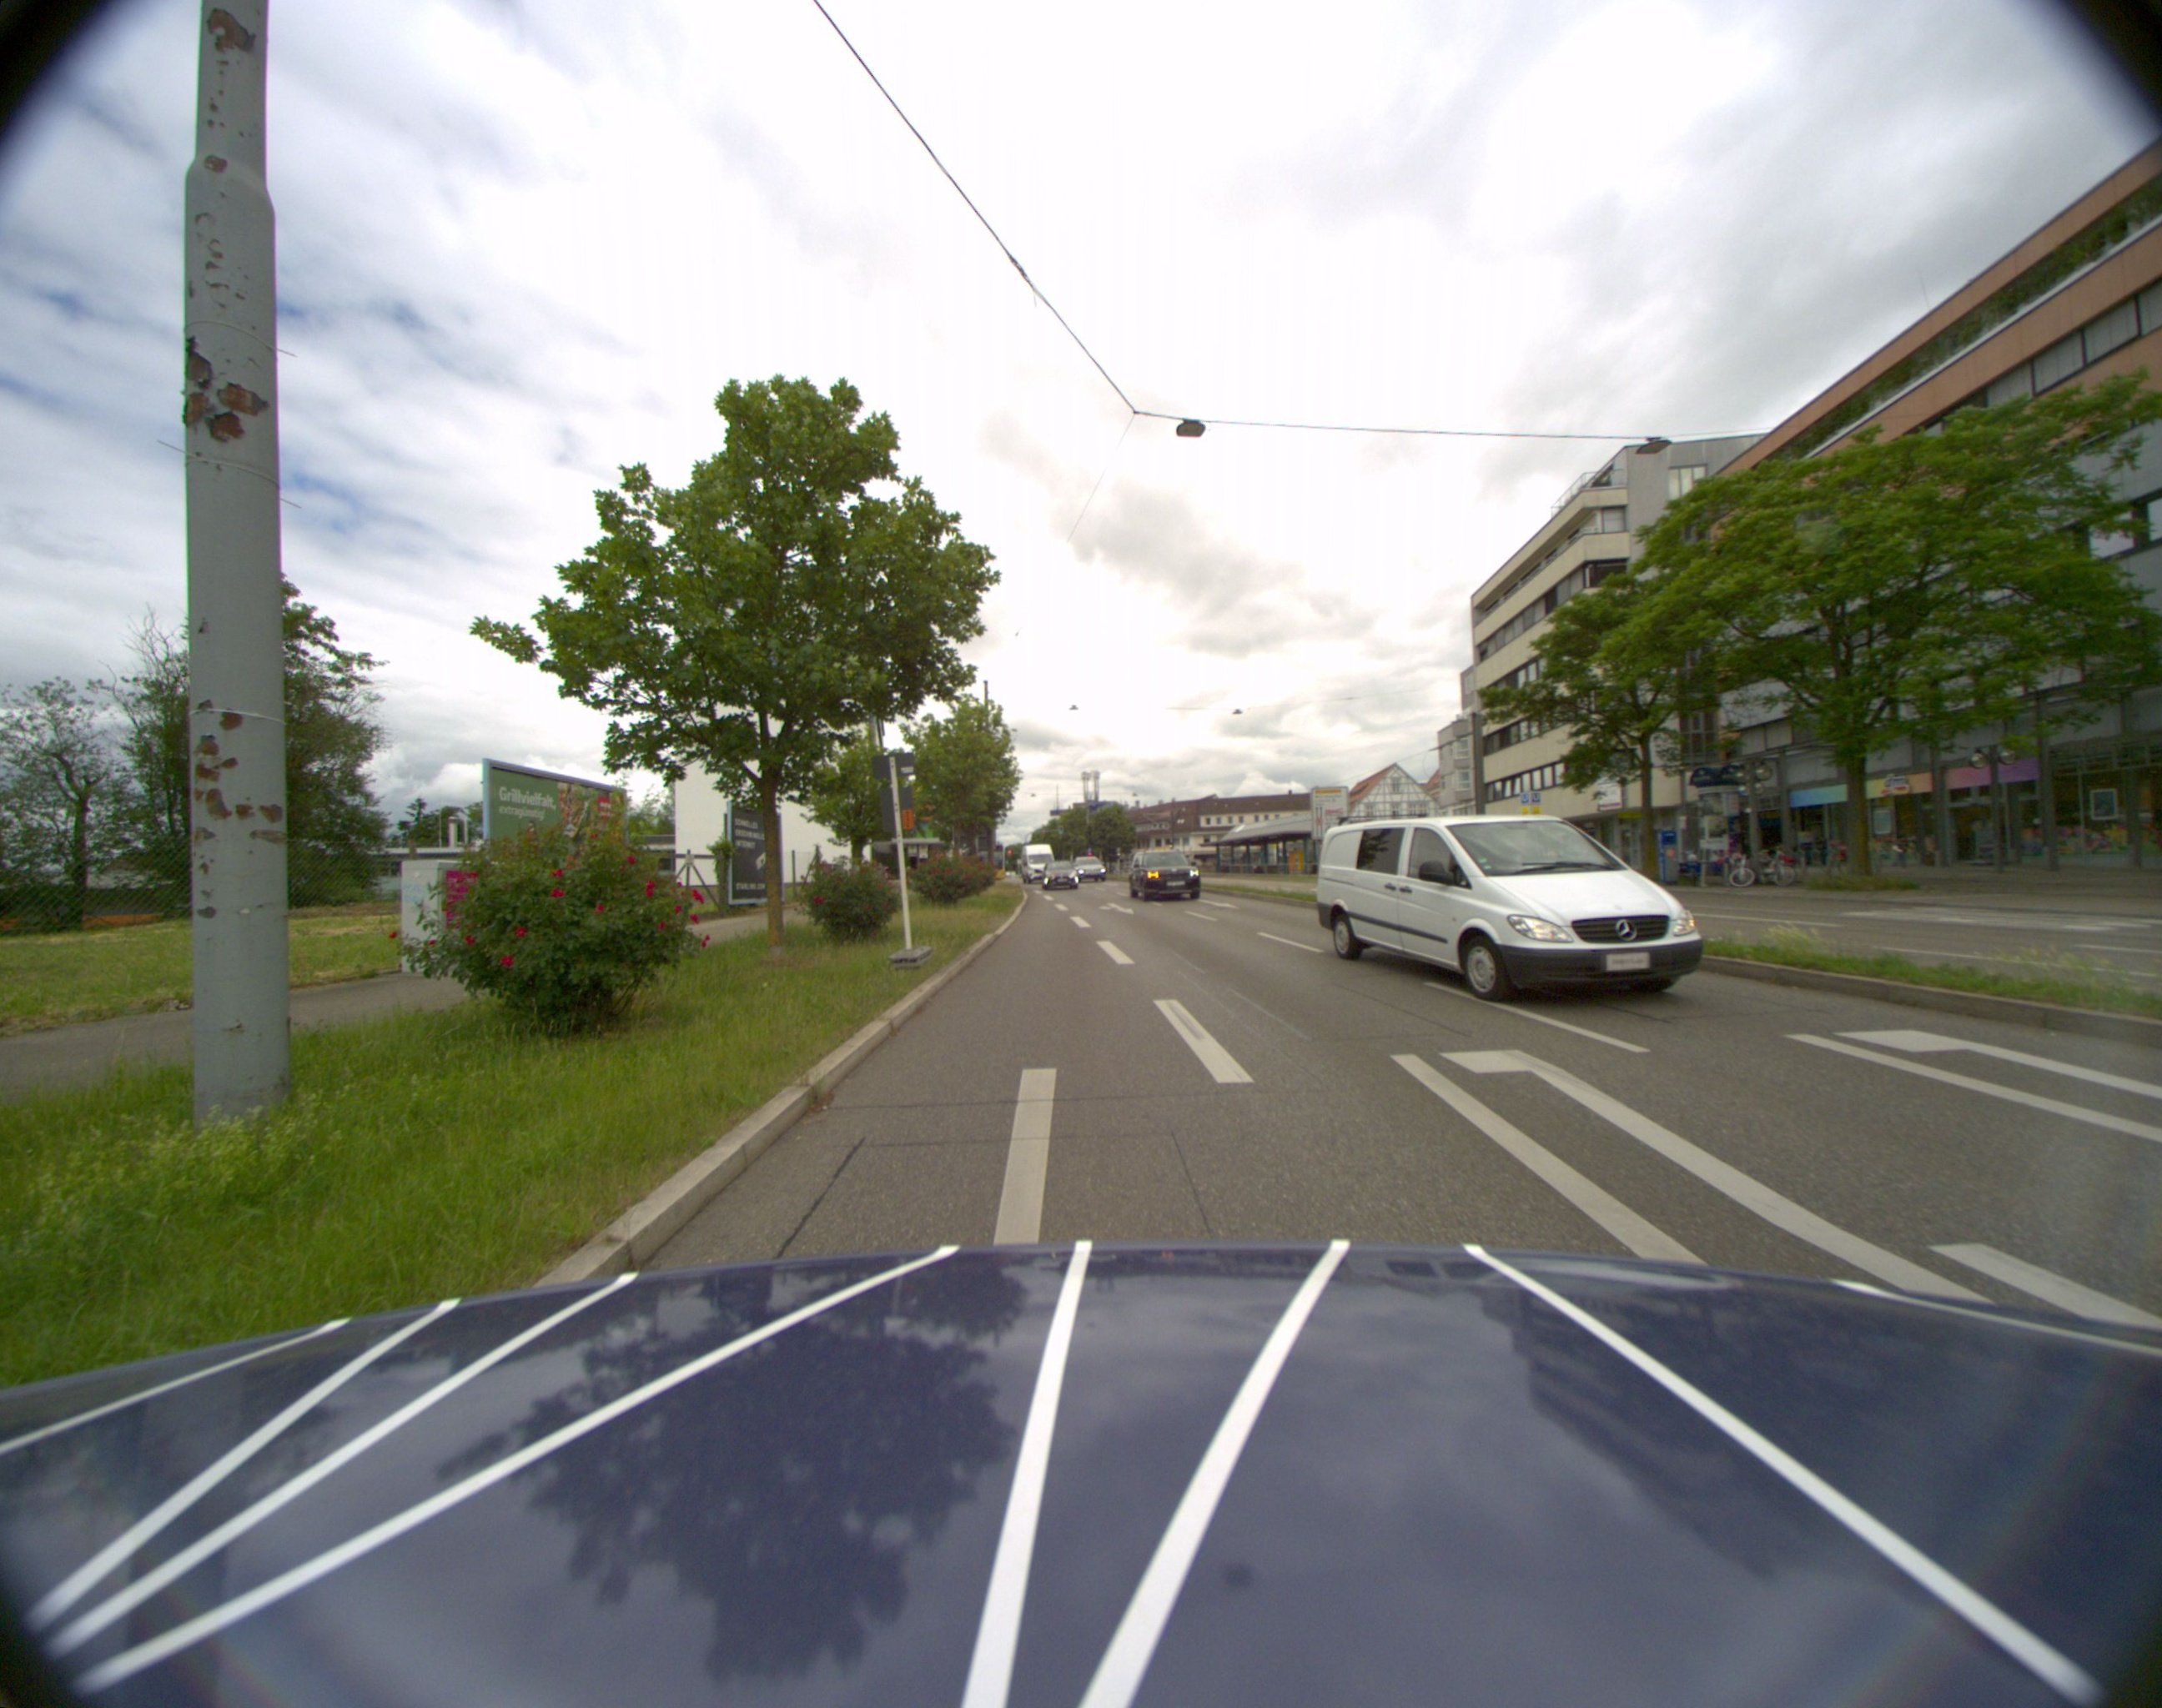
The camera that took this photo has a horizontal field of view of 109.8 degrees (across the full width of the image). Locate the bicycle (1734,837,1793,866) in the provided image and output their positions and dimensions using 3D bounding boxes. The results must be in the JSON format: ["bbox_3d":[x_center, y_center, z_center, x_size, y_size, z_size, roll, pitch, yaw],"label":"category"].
[{"bbox_3d":[32.634,-0.123,36.360,1.970,1.311,0.706,-1,0,16],"label":"bicycle"}]

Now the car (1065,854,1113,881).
[{"bbox_3d":[0.464,0.890,50.438,2.001,1.640,4.389,-3,0,-15],"label":"car"}]

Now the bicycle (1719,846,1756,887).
[{"bbox_3d":[20.601,0.371,23.864,0.625,1.246,1.687,-1,0,33],"label":"bicycle"}]

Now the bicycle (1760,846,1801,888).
[{"bbox_3d":[21.448,0.384,23.310,0.625,1.246,1.687,-1,0,33],"label":"bicycle"}]

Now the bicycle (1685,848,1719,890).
[{"bbox_3d":[19.598,0.456,23.997,0.625,1.246,1.687,-1,0,33],"label":"bicycle"}]

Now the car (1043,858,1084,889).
[{"bbox_3d":[-0.965,1.015,39.564,1.864,1.516,3.999,-1,-1,-5],"label":"car"}]

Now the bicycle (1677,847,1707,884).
[{"bbox_3d":[20.872,0.379,25.965,0.625,1.246,1.687,-1,0,33],"label":"bicycle"}]

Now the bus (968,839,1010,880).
[{"bbox_3d":[-7.788,0.542,63.240,2.722,3.144,9.120,2,-2,-11],"label":"bus"}]

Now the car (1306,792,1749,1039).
[{"bbox_3d":[4.575,0.524,8.994,1.879,2.002,5.074,-3,0,-5],"label":"car"}]

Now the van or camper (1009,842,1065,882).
[{"bbox_3d":[-3.278,0.608,54.641,2.283,2.690,6.985,-1,-1,-18],"label":"van or camper"}]

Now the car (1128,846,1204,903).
[{"bbox_3d":[2.886,0.675,26.934,1.927,1.741,4.677,-3,0,-2],"label":"car"}]

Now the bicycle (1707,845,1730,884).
[{"bbox_3d":[21.102,0.338,25.165,0.431,1.246,1.473,-1,0,35],"label":"bicycle"}]

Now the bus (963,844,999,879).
[{"bbox_3d":[-9.551,0.785,72.039,2.722,3.089,8.862,2,-2,-11],"label":"bus"}]

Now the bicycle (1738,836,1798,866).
[{"bbox_3d":[32.052,-0.139,35.481,1.970,1.311,0.706,-1,0,16],"label":"bicycle"}]
